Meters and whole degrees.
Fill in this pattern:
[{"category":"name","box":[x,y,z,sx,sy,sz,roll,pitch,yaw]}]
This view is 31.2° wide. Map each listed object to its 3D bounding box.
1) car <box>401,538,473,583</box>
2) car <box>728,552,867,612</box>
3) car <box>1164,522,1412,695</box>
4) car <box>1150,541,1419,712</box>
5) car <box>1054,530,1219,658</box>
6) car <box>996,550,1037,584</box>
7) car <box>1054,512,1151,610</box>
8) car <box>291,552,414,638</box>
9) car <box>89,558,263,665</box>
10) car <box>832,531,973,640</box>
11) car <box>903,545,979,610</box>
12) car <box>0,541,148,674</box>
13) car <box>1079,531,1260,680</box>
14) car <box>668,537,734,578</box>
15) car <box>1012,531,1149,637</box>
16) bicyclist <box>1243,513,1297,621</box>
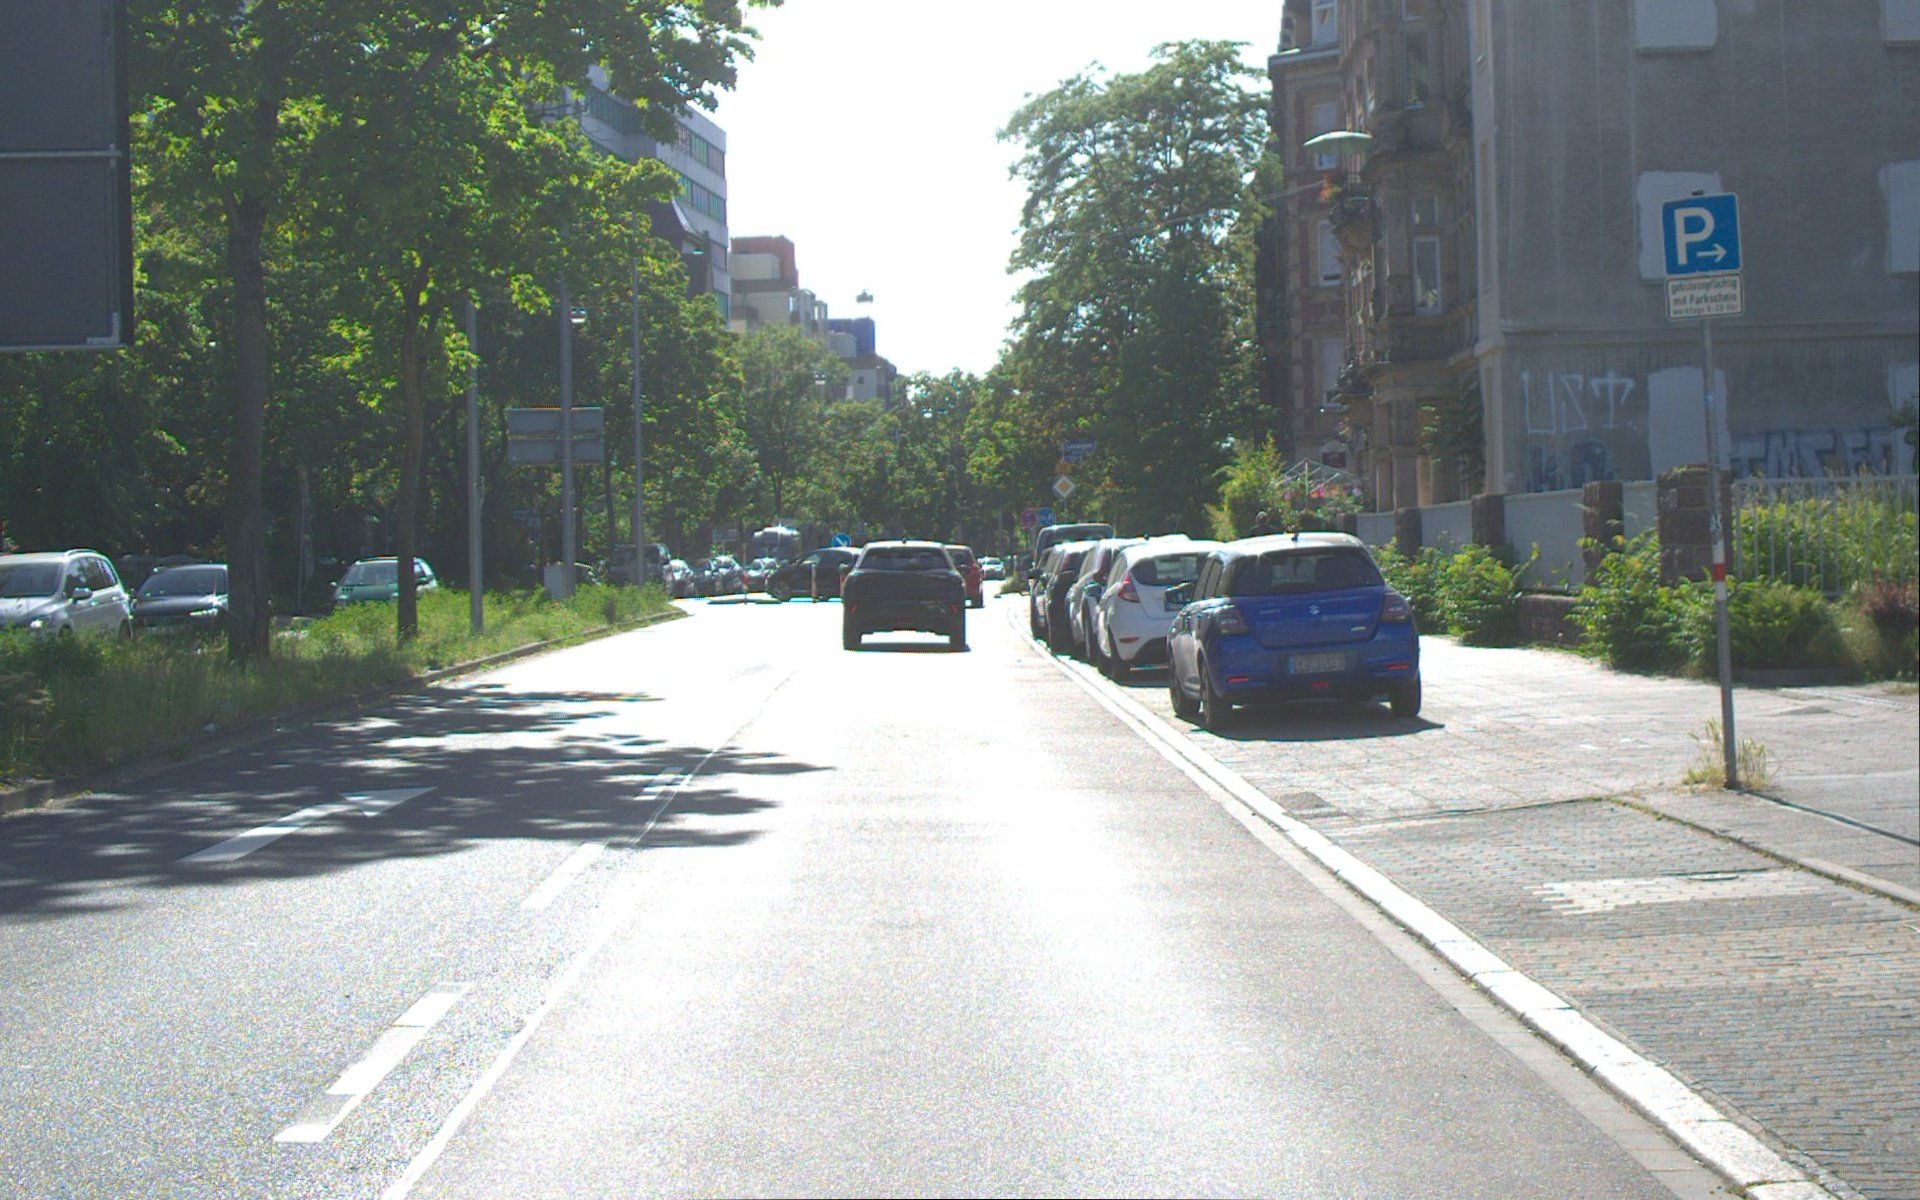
[{"category":"car","box":[-20.411,-1.539,134.078,1.974,1.656,4.001,-2,1,-20]},{"category":"car","box":[-4.530,-0.496,96.083,3.849,1.628,1.620,0,-2,-2]},{"category":"car","box":[3.122,0.033,33.455,1.668,1.455,3.987,-4,2,-4]},{"category":"car","box":[2.648,0.176,28.841,1.668,1.178,3.901,-4,2,-2]},{"category":"car","box":[2.223,-0.111,44.149,1.667,1.514,3.662,-2,1,-4]},{"category":"car","box":[2.864,-1.680,173.048,1.920,1.634,4.000,-1,1,3]},{"category":"car","box":[2.808,-0.803,68.130,1.819,1.837,4.364,-1,1,2]},{"category":"car","box":[-11.417,-0.116,64.827,1.638,1.514,4.259,-1,1,-1]},{"category":"car","box":[-12.074,0.165,53.165,1.795,1.514,4.087,-3,0,-2]},{"category":"car","box":[-0.885,-0.241,50.340,1.894,1.514,4.001,1,1,-3]},{"category":"car","box":[-0.473,-0.545,82.715,1.792,1.515,3.849,0,0,-1]},{"category":"car","box":[-12.031,0.074,44.734,1.900,1.620,4.537,-2,1,-2]},{"category":"car","box":[2.294,0.024,38.393,1.608,1.441,3.659,-4,2,-1]},{"category":"car","box":[-9.952,-1.660,132.425,1.759,1.514,3.858,-1,1,7]},{"category":"car","box":[1.672,-0.254,48.612,1.668,1.389,3.775,-1,1,-1]},{"category":"bicyclist","box":[4.630,-0.501,51.390,0.741,1.574,1.100,0,2,1]}]
